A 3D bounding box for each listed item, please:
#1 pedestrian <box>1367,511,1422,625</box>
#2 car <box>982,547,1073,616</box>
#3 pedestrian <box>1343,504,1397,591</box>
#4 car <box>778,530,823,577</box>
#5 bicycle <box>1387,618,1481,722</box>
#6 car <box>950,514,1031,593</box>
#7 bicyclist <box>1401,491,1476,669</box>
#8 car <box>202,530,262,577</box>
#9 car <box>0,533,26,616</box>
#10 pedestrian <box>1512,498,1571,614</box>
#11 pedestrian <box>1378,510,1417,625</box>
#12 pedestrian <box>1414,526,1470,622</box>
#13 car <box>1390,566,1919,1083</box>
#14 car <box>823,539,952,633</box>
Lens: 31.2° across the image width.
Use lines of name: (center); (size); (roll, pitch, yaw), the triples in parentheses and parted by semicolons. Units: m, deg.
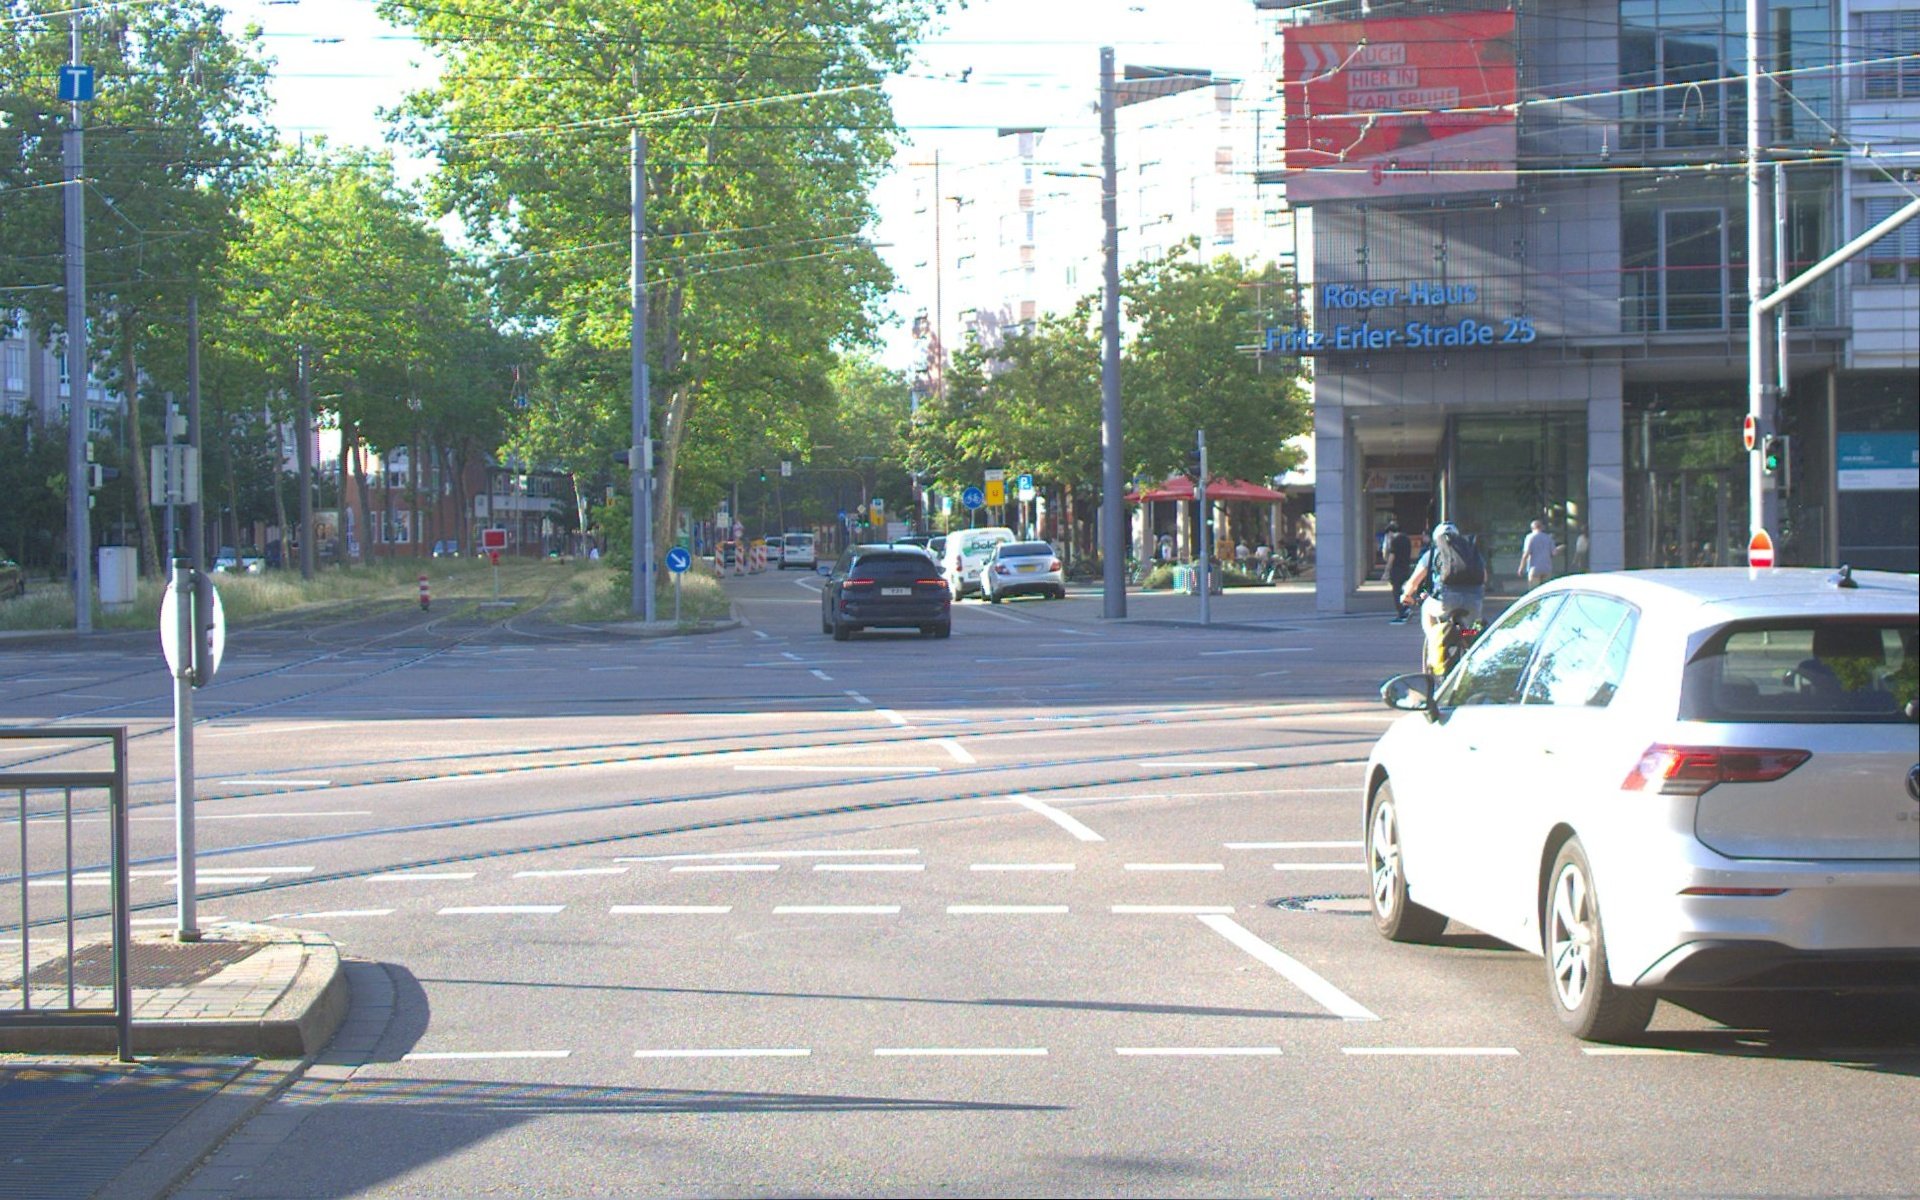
pedestrian: (7.730, -0.578, 61.222); (0.849, 2.007, 0.708); (1, 0, -1)
car: (1.596, -0.446, 82.759); (2.029, 1.590, 4.000); (1, 1, -1)
pedestrian: (10.389, -1.328, 87.219); (1.313, 2.182, 1.170); (1, 0, 6)
car: (-8.074, -2.345, 174.151); (1.993, 2.007, 3.999); (1, -4, 1)
bicycle: (3.919, 0.567, 28.521); (0.490, 0.785, 1.862); (0, 1, -1)
car: (0.765, -1.203, 89.570); (1.993, 2.007, 4.000); (1, 1, -1)
bicyclist: (3.930, -0.175, 28.261); (0.486, 1.434, 0.615); (2, 2, -1)
car: (-25.955, -1.656, 122.621); (1.676, 1.601, 4.001); (1, 1, -6)
car: (-21.549, -0.553, 74.715); (1.822, 1.784, 4.001); (-1, 1, -7)
pedestrian: (10.244, -0.776, 60.604); (0.869, 2.007, 0.794); (1, 0, -1)
pedestrian: (7.666, -0.568, 60.256); (0.586, 2.007, 0.620); (1, 0, 0)
pedestrian: (8.643, -0.468, 61.643); (0.869, 1.702, 0.794); (1, 0, -1)
car: (2.550, 0.616, 11.708); (1.748, 1.413, 4.000); (0, 1, 1)
car: (-1.159, -0.246, 53.246); (1.763, 1.399, 4.297); (0, 1, -4)
